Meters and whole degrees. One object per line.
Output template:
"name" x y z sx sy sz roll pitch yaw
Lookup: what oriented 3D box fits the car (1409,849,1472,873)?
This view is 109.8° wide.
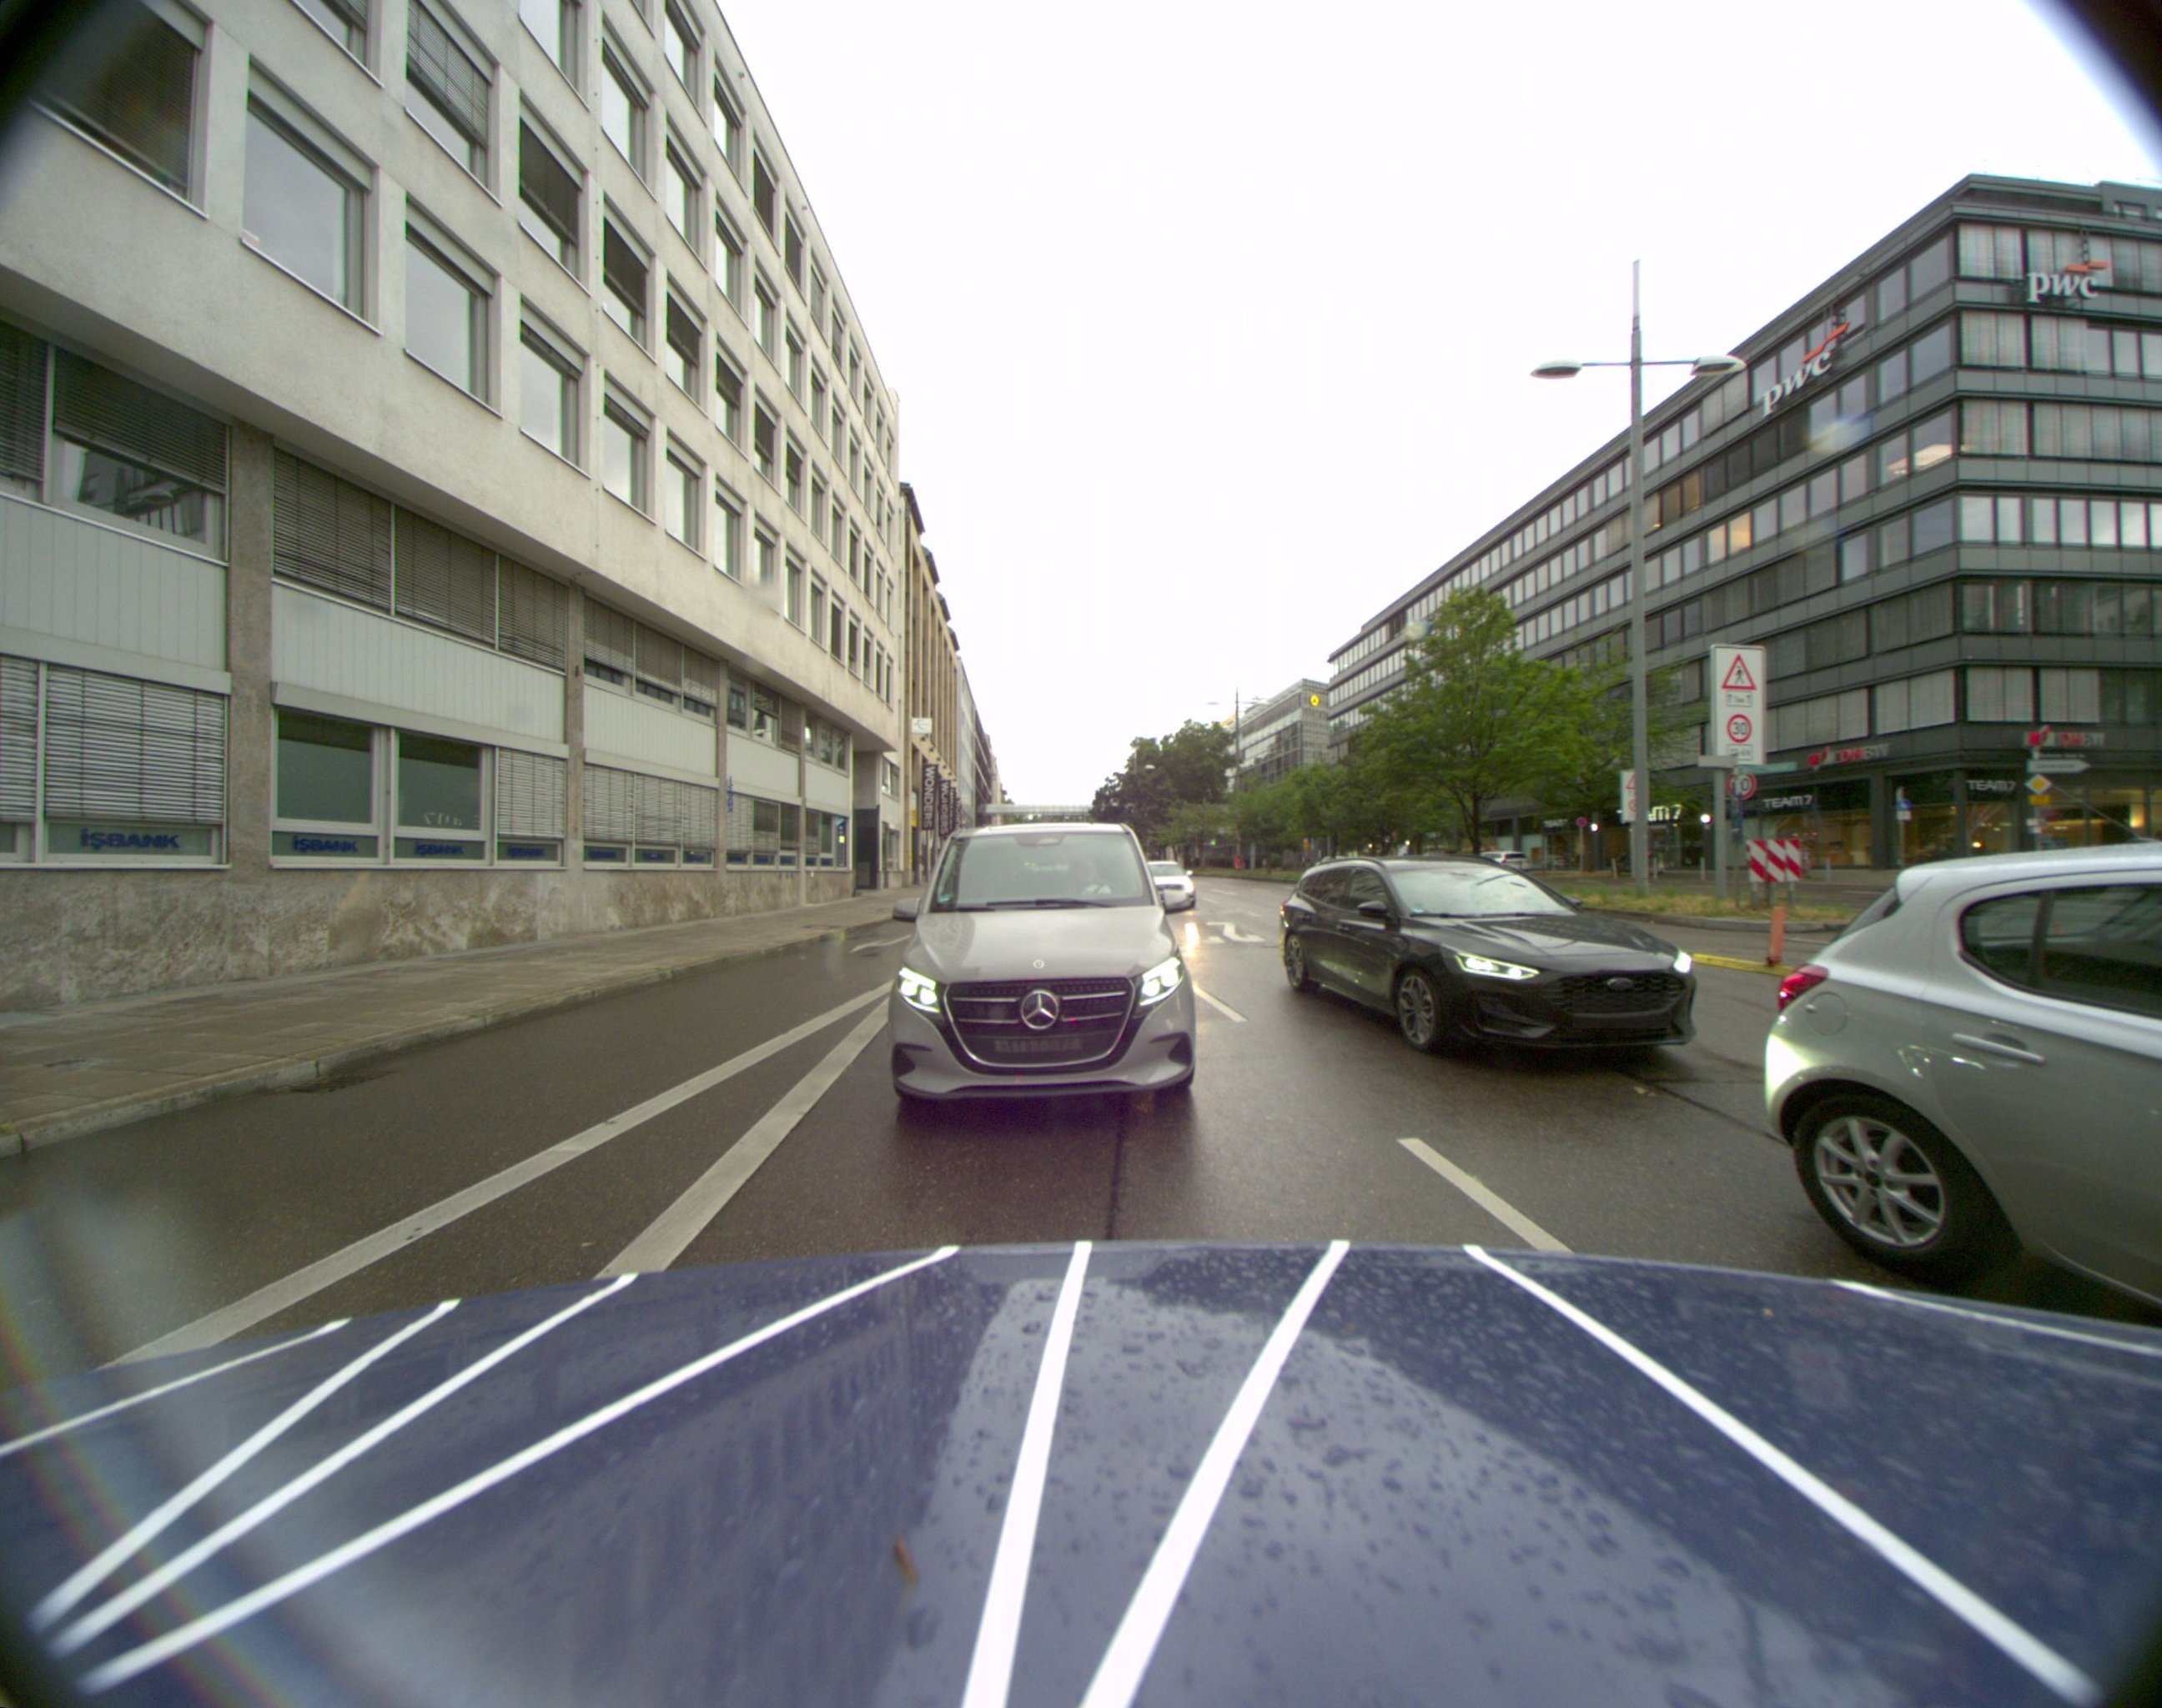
"car" 23.647 0.447 50.131 1.999 1.498 4.106 -2 0 -4

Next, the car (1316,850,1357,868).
"car" 22.395 0.458 66.676 1.999 1.498 3.999 -2 0 -4

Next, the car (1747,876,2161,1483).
"car" 3.507 0.827 1.094 1.652 1.427 3.875 -2 0 0

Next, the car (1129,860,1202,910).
"car" 2.610 0.934 24.433 1.776 1.372 4.094 -2 0 -1

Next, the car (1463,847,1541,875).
"car" 24.104 0.388 43.673 1.999 1.498 3.999 -2 0 -4

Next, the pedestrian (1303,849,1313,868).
"pedestrian" 25.092 0.509 83.912 0.928 2.002 0.539 -2 0 -1

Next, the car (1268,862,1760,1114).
"car" 3.166 0.833 6.684 1.776 1.427 4.093 -2 0 -4

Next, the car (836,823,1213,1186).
"car" -0.312 0.800 6.519 1.916 1.844 5.026 -2 0 0
